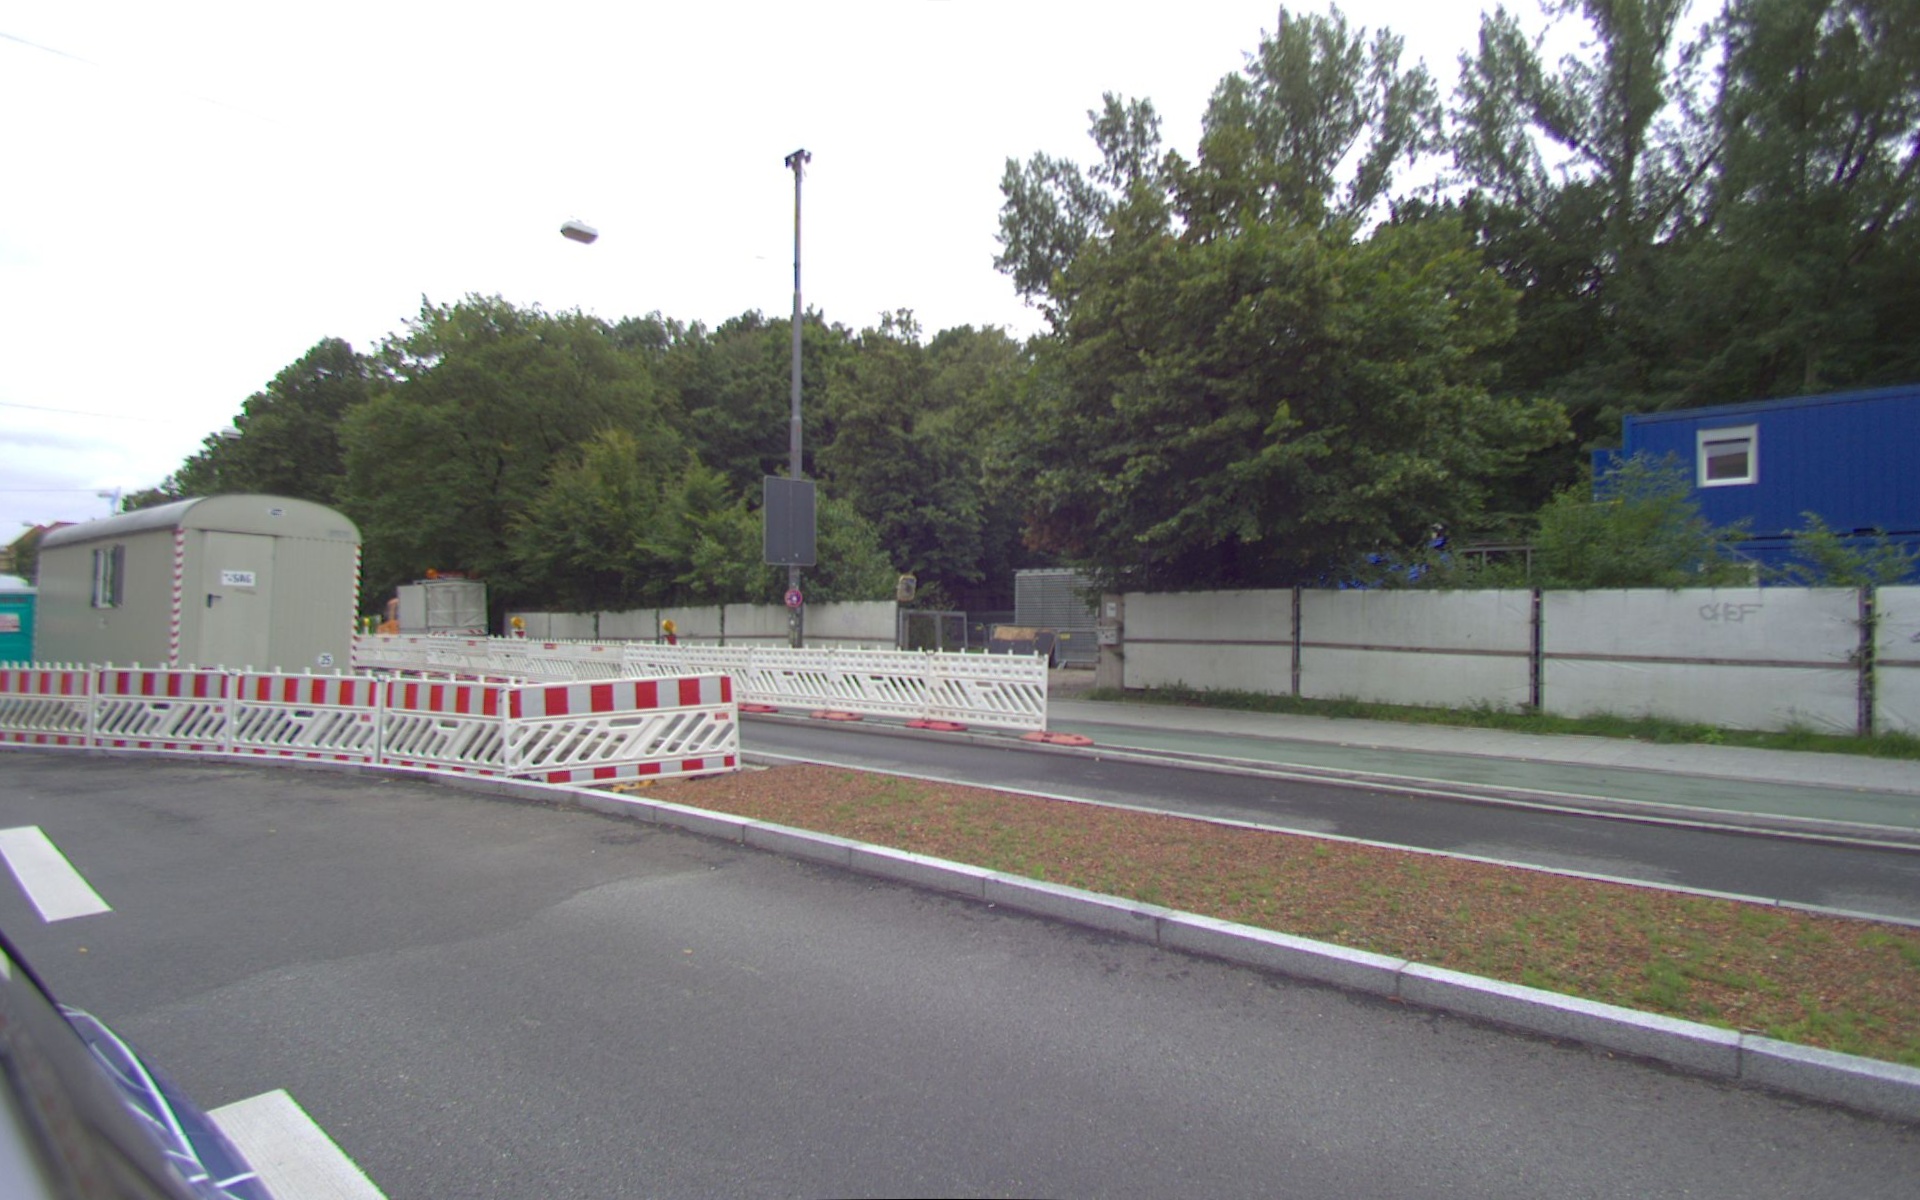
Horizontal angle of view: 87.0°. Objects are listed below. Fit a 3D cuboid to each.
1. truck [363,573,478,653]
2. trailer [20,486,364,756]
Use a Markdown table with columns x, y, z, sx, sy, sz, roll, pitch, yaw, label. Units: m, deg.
| x | y | z | sx | sy | sz | roll | pitch | yaw | label |
| --- | --- | --- | --- | --- | --- | --- | --- | --- | --- |
| -20.159 | 0.538 | 37.659 | 5.869 | 2.749 | 1.972 | -2 | -2 | 43 | truck |
| -11.906 | 0.341 | 15.391 | 7.506 | 3.268 | 2.206 | -1 | -2 | 37 | trailer |
